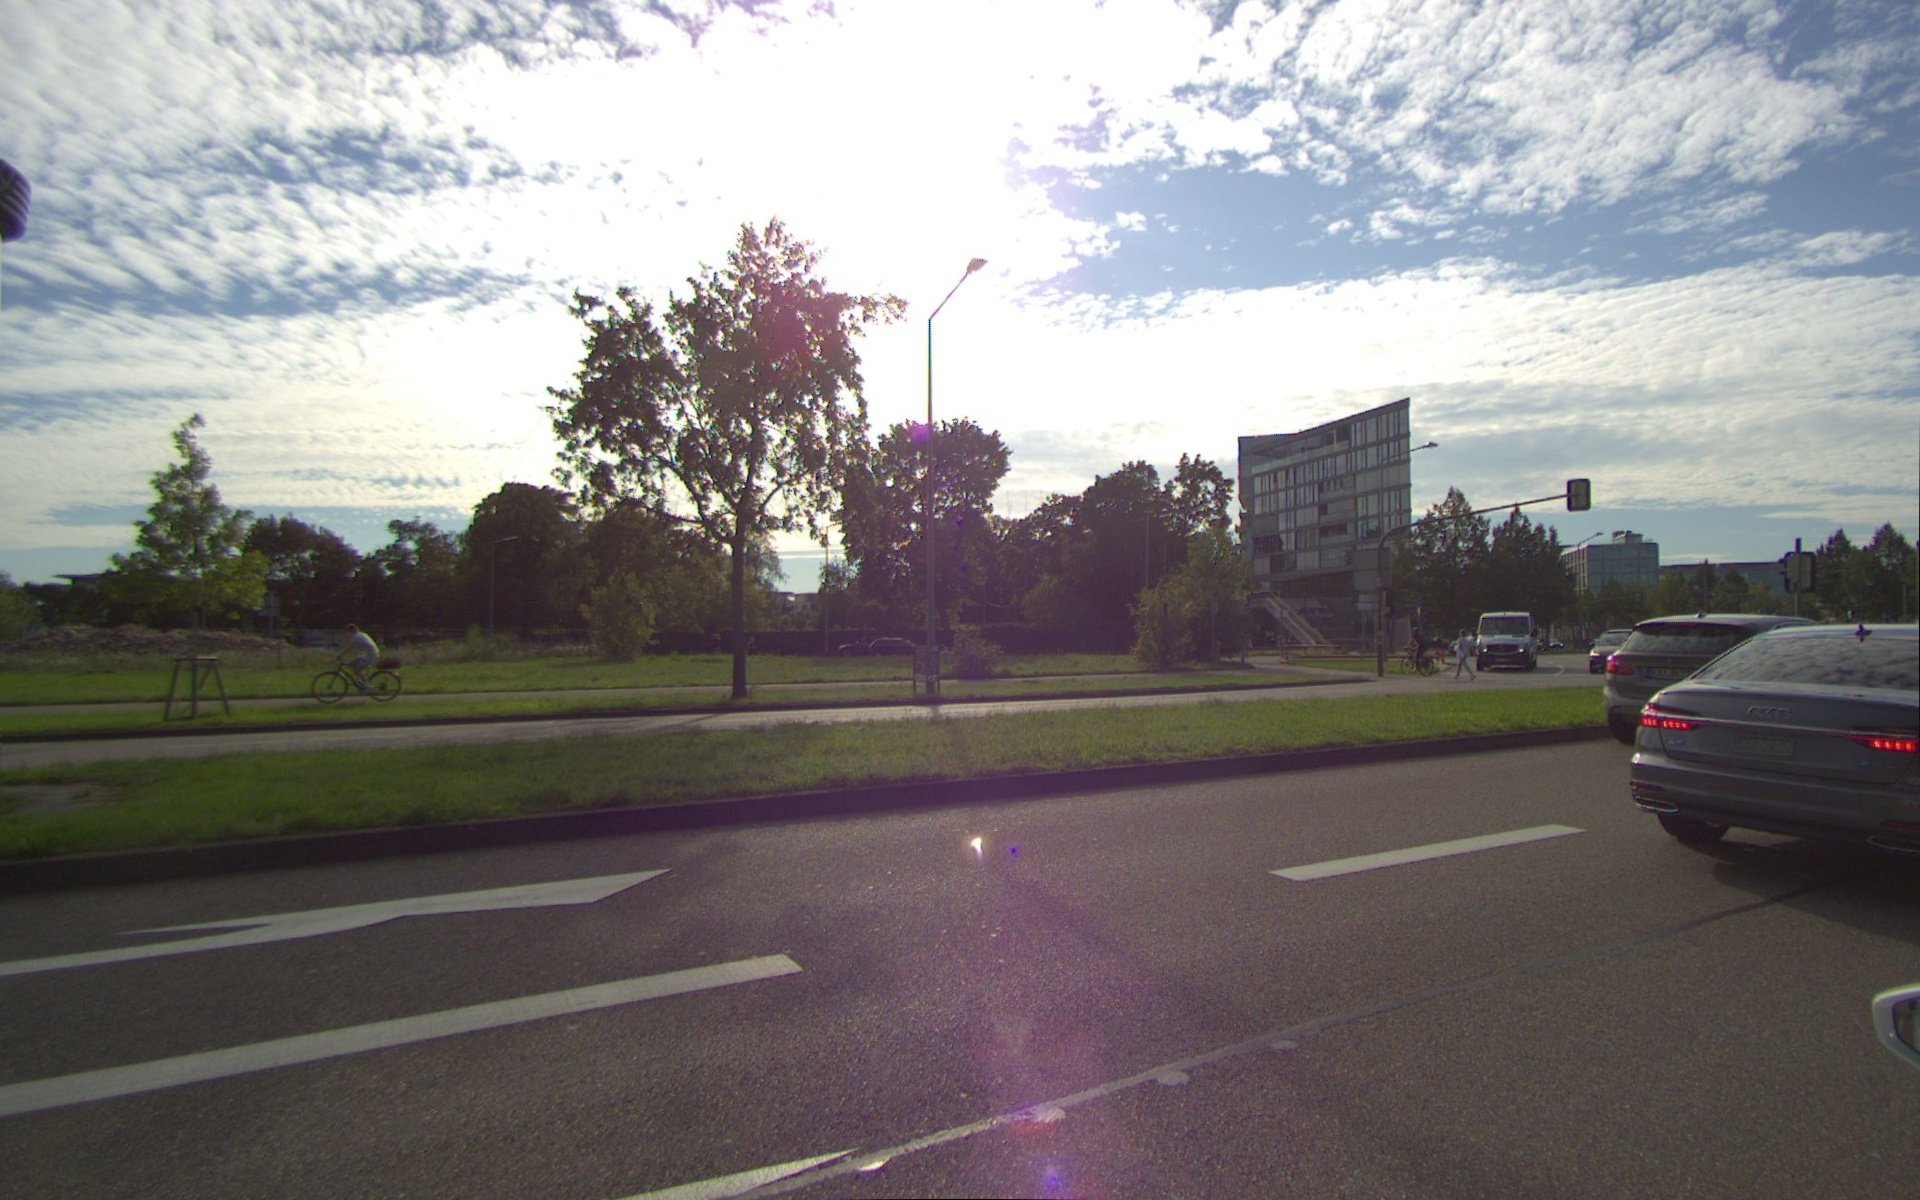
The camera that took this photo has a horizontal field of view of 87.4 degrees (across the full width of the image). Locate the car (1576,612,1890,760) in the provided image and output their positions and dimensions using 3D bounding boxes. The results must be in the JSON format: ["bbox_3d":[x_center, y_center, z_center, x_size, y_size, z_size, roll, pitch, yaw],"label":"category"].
[{"bbox_3d":[9.628,0.962,12.462,3.971,1.579,1.721,1,-1,-30],"label":"car"}]

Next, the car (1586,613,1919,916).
[{"bbox_3d":[6.400,0.872,6.720,4.559,1.502,1.881,1,-1,-31],"label":"car"}]

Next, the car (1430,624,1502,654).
[{"bbox_3d":[35.827,2.753,71.182,4.154,2.040,1.828,1,-3,-3],"label":"car"}]

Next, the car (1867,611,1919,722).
[{"bbox_3d":[15.538,0.969,15.118,3.831,1.585,1.713,0,0,-30],"label":"car"}]

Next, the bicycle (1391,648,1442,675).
[{"bbox_3d":[17.123,2.295,37.687,0.638,0.979,1.664,1,-3,-34],"label":"bicycle"}]

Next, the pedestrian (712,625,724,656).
[{"bbox_3d":[-15.857,2.664,65.735,0.675,2.040,0.641,0,-2,-5],"label":"pedestrian"}]

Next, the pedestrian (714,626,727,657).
[{"bbox_3d":[-15.856,2.722,66.572,0.723,2.040,0.739,0,-2,-5],"label":"pedestrian"}]

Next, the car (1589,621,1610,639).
[{"bbox_3d":[60.007,2.842,94.260,1.570,1.433,3.661,-3,-6,33],"label":"car"}]

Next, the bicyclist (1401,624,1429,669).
[{"bbox_3d":[17.106,1.744,37.745,0.544,1.690,0.783,1,-2,-34],"label":"bicyclist"}]

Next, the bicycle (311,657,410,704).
[{"bbox_3d":[-13.626,1.812,22.884,1.889,0.994,0.891,1,-3,-30],"label":"bicycle"}]

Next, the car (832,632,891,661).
[{"bbox_3d":[-7.337,3.459,75.171,3.919,2.040,2.001,2,-1,13],"label":"car"}]

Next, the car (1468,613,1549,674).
[{"bbox_3d":[22.277,1.773,40.671,1.969,2.264,5.903,-3,-4,37],"label":"car"}]

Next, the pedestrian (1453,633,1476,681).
[{"bbox_3d":[16.917,1.904,33.676,0.644,1.589,0.615,-1,-2,27],"label":"pedestrian"}]

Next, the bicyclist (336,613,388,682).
[{"bbox_3d":[-13.634,1.079,22.931,0.978,1.545,0.702,1,-2,-30],"label":"bicyclist"}]
